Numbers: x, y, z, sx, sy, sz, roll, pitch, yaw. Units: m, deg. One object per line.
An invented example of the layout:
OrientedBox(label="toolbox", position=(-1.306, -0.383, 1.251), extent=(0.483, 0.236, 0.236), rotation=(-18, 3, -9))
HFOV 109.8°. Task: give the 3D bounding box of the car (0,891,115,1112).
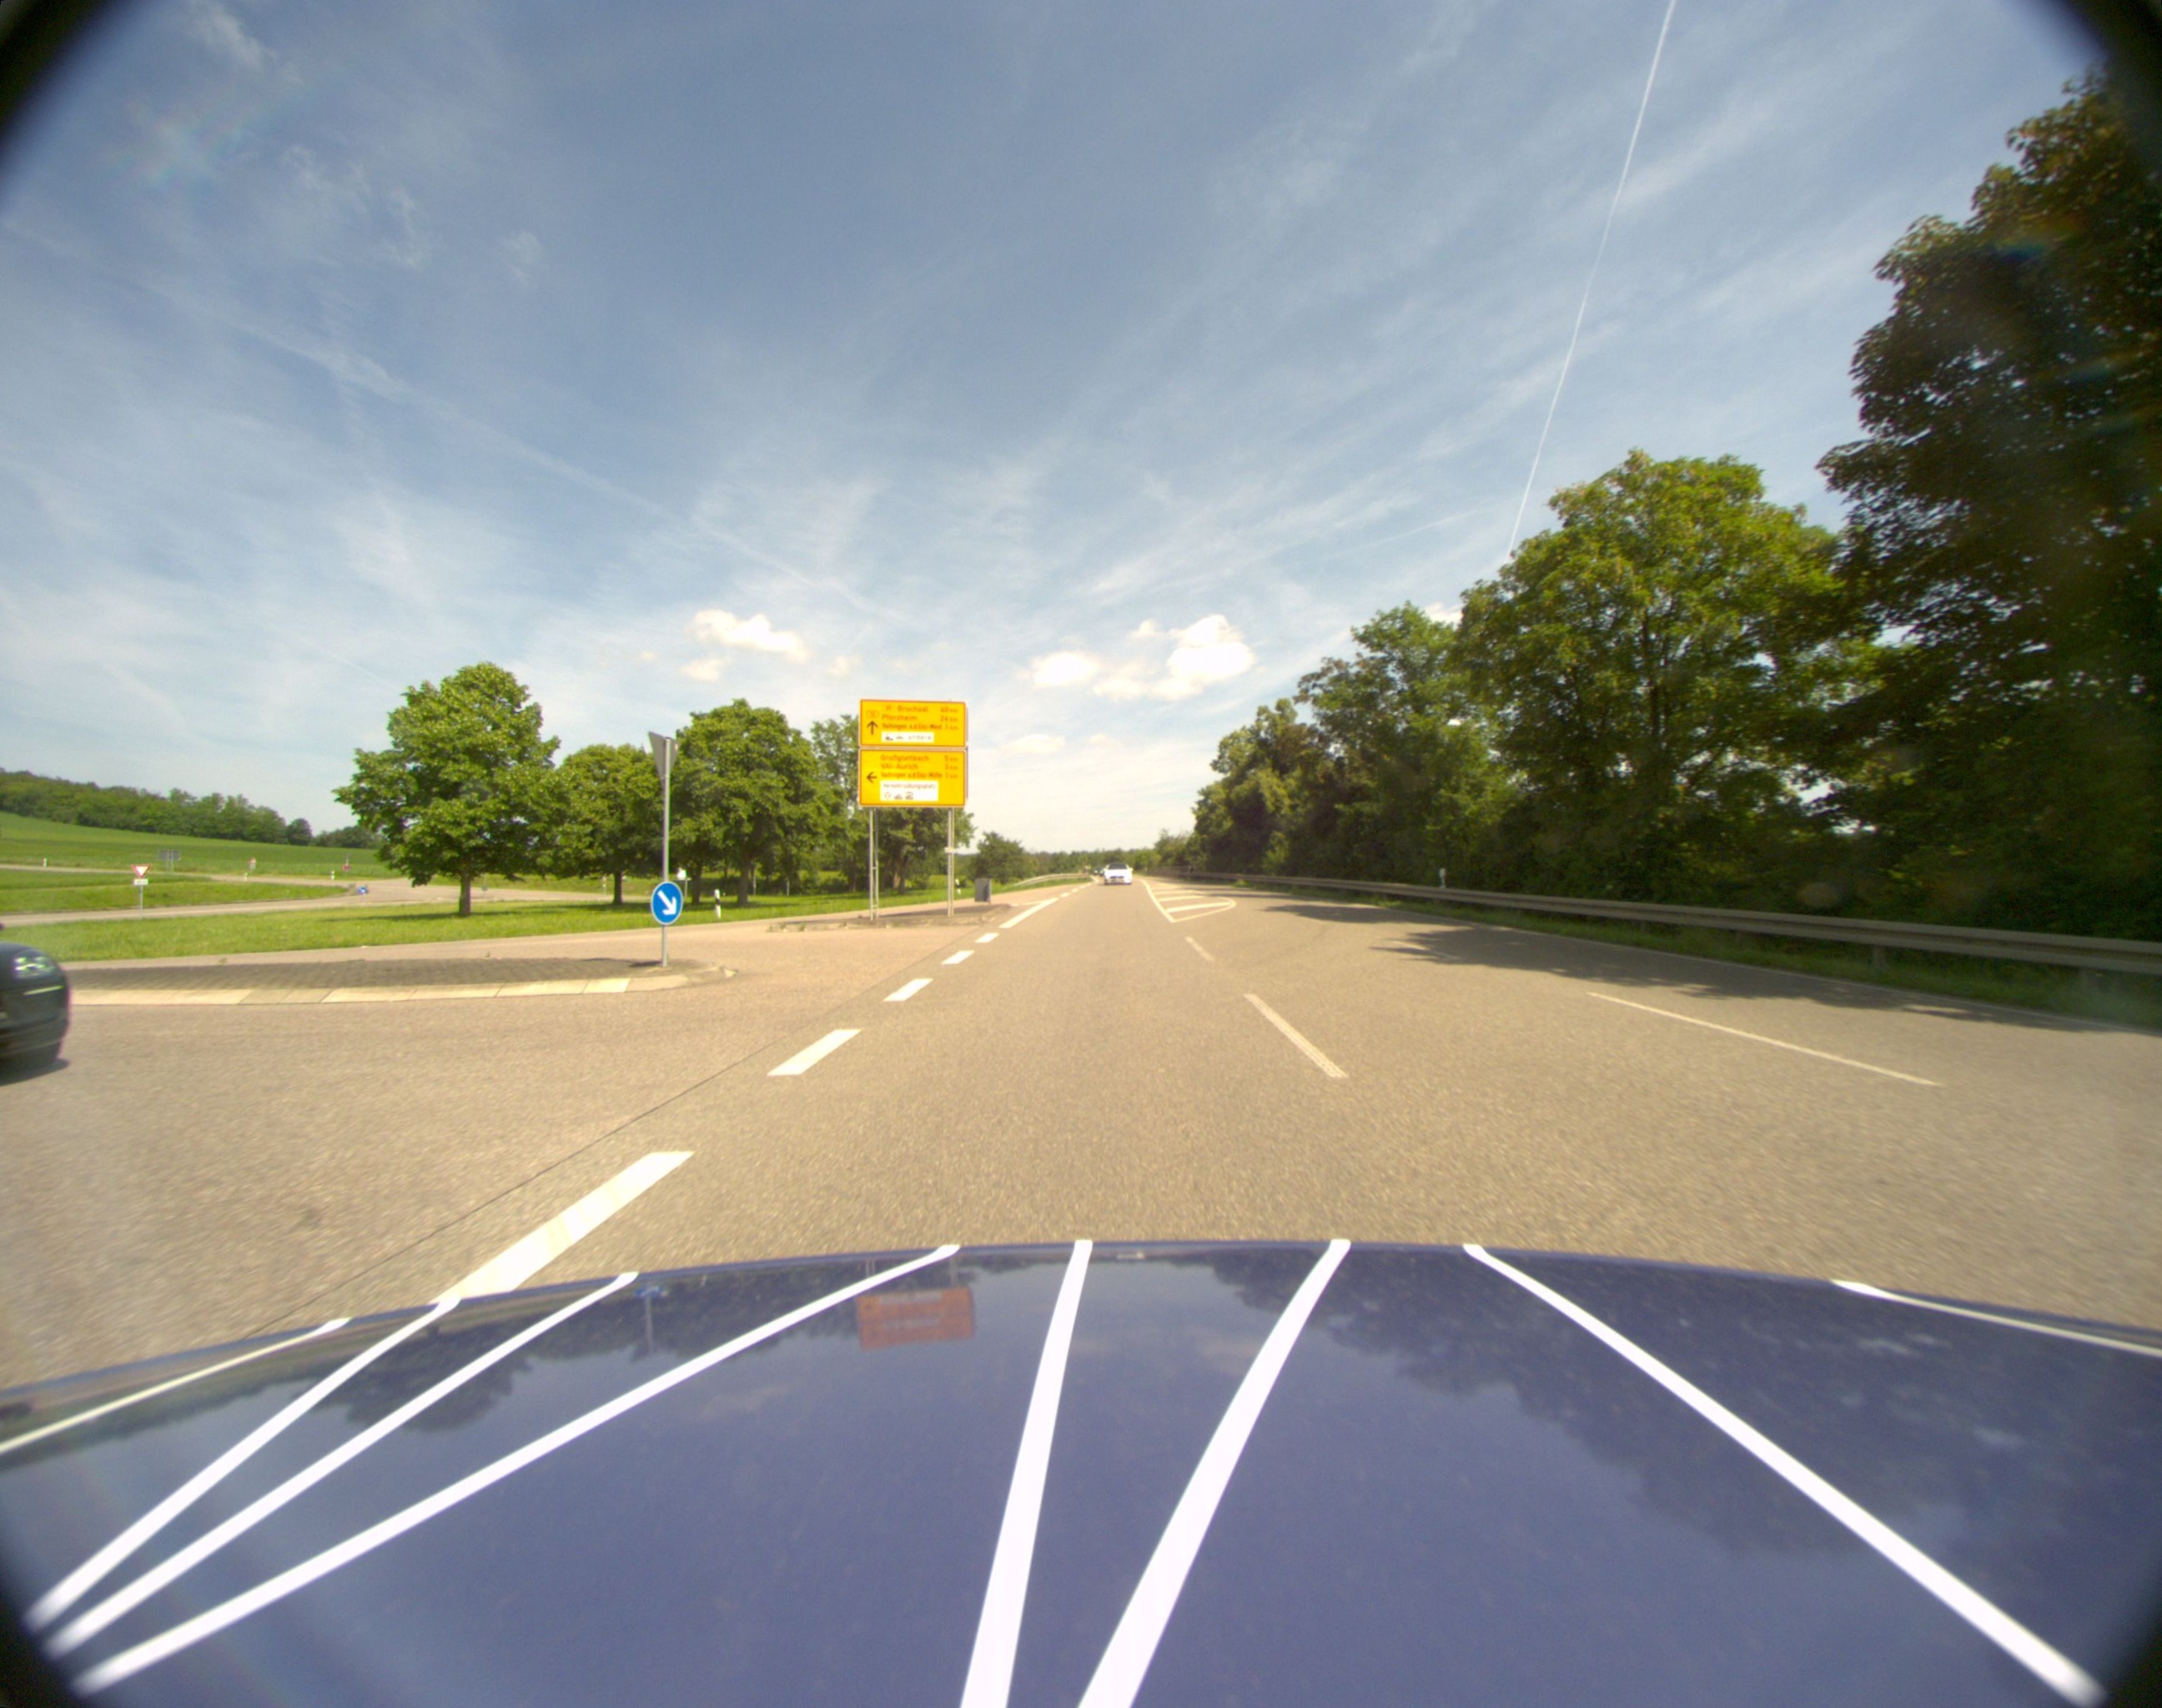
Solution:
OrientedBox(label="car", position=(-10.145, 1.139, 5.670), extent=(4.420, 1.580, 2.066), rotation=(-1, 0, 16))

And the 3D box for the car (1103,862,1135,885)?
OrientedBox(label="car", position=(2.528, 1.254, 51.303), extent=(1.929, 1.441, 4.535), rotation=(-1, 0, 0))

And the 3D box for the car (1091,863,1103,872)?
OrientedBox(label="car", position=(2.715, 2.276, 128.210), extent=(1.929, 1.441, 4.000), rotation=(0, -1, -2))

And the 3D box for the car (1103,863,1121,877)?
OrientedBox(label="car", position=(3.405, 1.721, 84.044), extent=(1.929, 1.441, 4.000), rotation=(0, 0, 1))
